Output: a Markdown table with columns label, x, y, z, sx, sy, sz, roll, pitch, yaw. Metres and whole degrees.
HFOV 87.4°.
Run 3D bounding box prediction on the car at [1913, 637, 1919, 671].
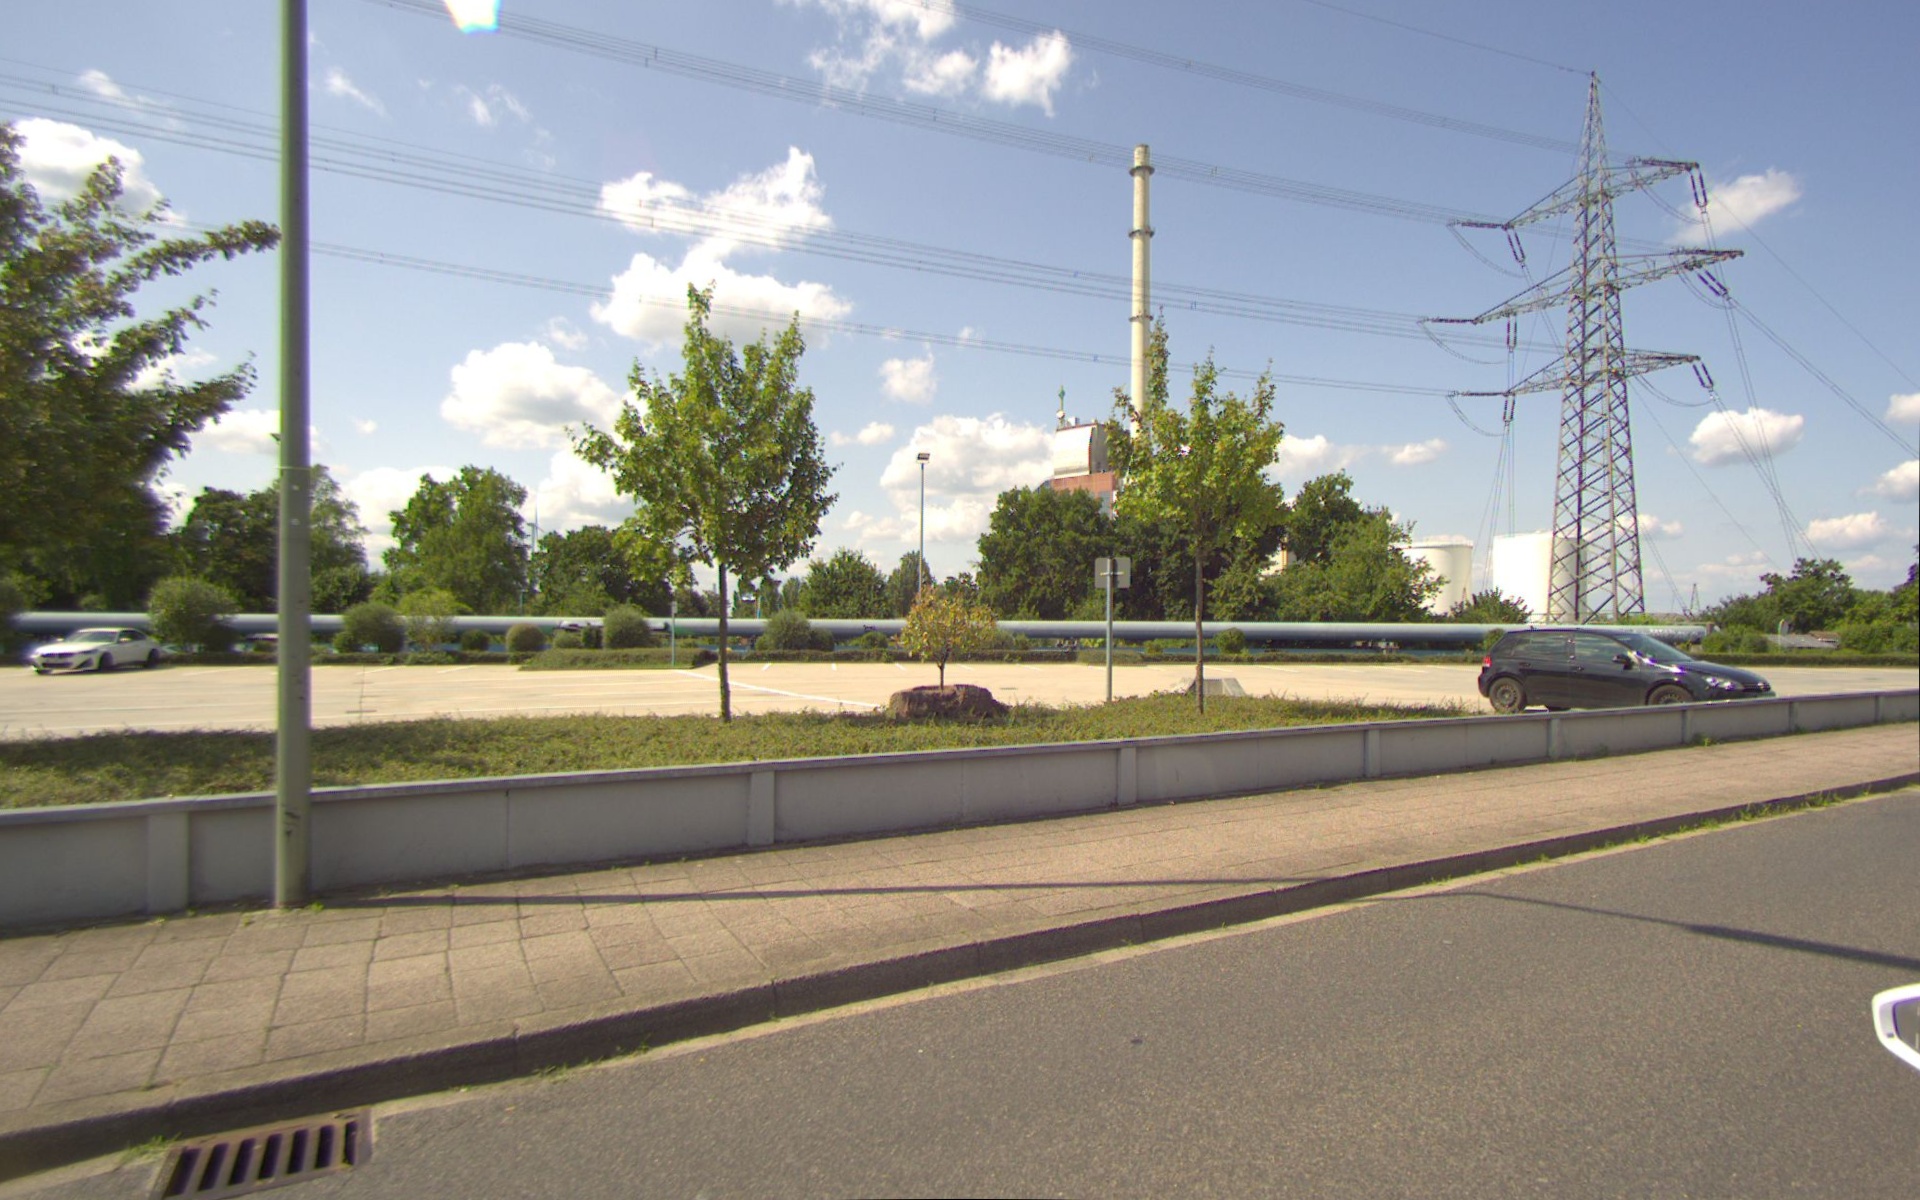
| label | x | y | z | sx | sy | sz | roll | pitch | yaw |
| --- | --- | --- | --- | --- | --- | --- | --- | --- | --- |
| car | 40.431 | 2.199 | 39.795 | 1.767 | 1.396 | 4.002 | 1 | -1 | 4 |

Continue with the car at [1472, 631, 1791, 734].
| label | x | y | z | sx | sy | sz | roll | pitch | yaw |
| --- | --- | --- | --- | --- | --- | --- | --- | --- | --- |
| car | 10.707 | 1.241 | 16.316 | 1.782 | 1.394 | 3.969 | 2 | -2 | -29 |

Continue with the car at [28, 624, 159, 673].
| label | x | y | z | sx | sy | sz | roll | pitch | yaw |
| --- | --- | --- | --- | --- | --- | --- | --- | --- | --- |
| car | -28.307 | 1.565 | 32.973 | 1.774 | 1.493 | 3.813 | 1 | -1 | -16 |
